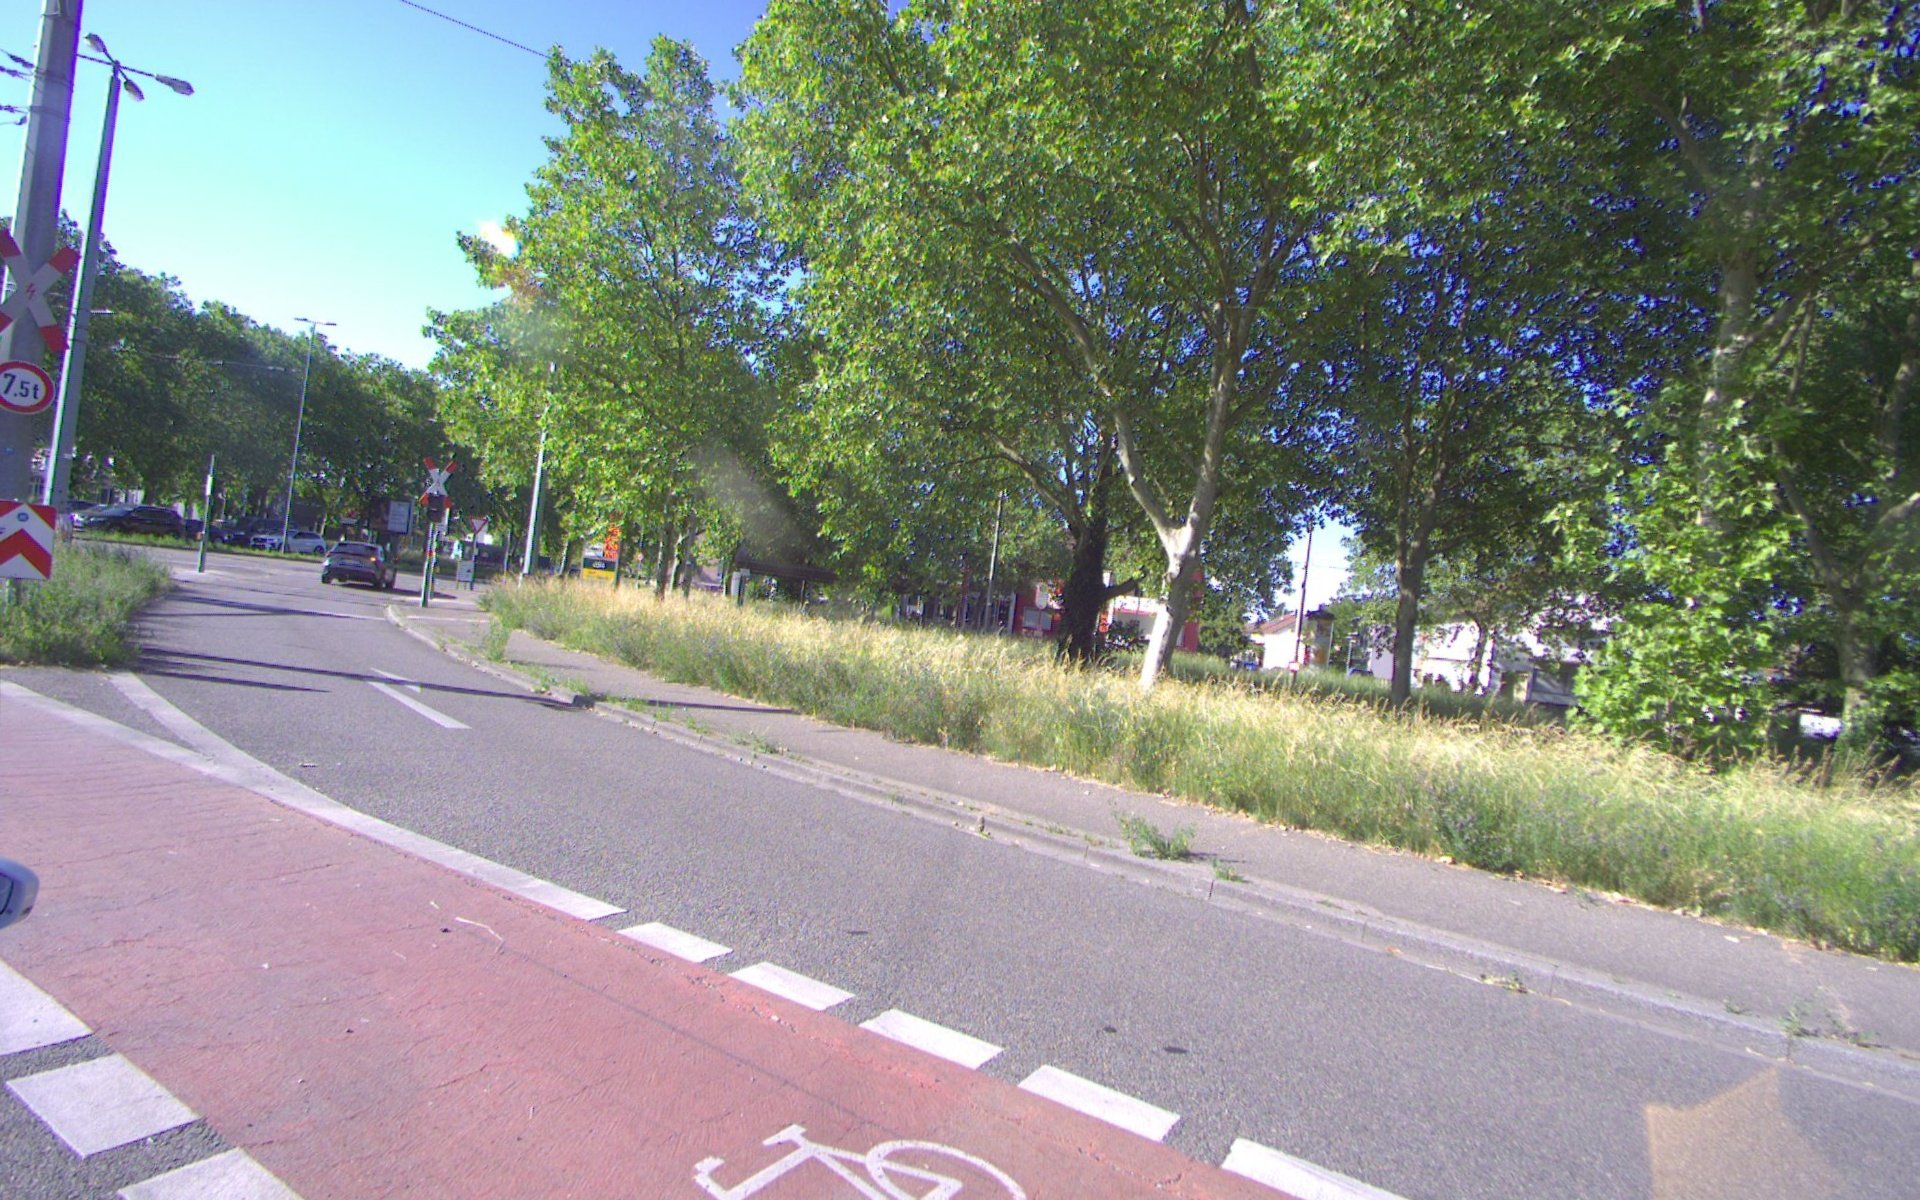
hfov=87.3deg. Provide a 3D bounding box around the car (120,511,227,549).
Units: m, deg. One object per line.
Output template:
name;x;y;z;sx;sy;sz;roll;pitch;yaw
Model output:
car;-42.703;-3.761;54.752;1.898;1.424;4.573;7;-1;4

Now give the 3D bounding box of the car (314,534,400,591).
car;-21.749;-1.315;36.450;1.802;1.724;3.757;8;-1;-20

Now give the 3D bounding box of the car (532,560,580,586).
car;-33.382;-2.211;83.166;1.962;1.637;4.002;7;-1;4

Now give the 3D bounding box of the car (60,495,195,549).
car;-36.666;-3.395;44.481;1.885;1.732;4.497;7;-1;4

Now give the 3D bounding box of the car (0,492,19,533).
car;-40.713;-3.807;40.320;1.782;1.620;4.093;7;-1;7

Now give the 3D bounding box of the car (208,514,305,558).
car;-44.871;-4.023;64.364;2.090;2.095;5.123;7;-1;5

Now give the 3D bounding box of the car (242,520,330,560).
car;-41.665;-3.682;62.338;1.873;1.701;4.782;7;-2;4

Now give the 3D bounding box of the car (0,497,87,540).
car;-43.978;-3.883;47.616;1.681;1.620;3.862;7;-1;3
